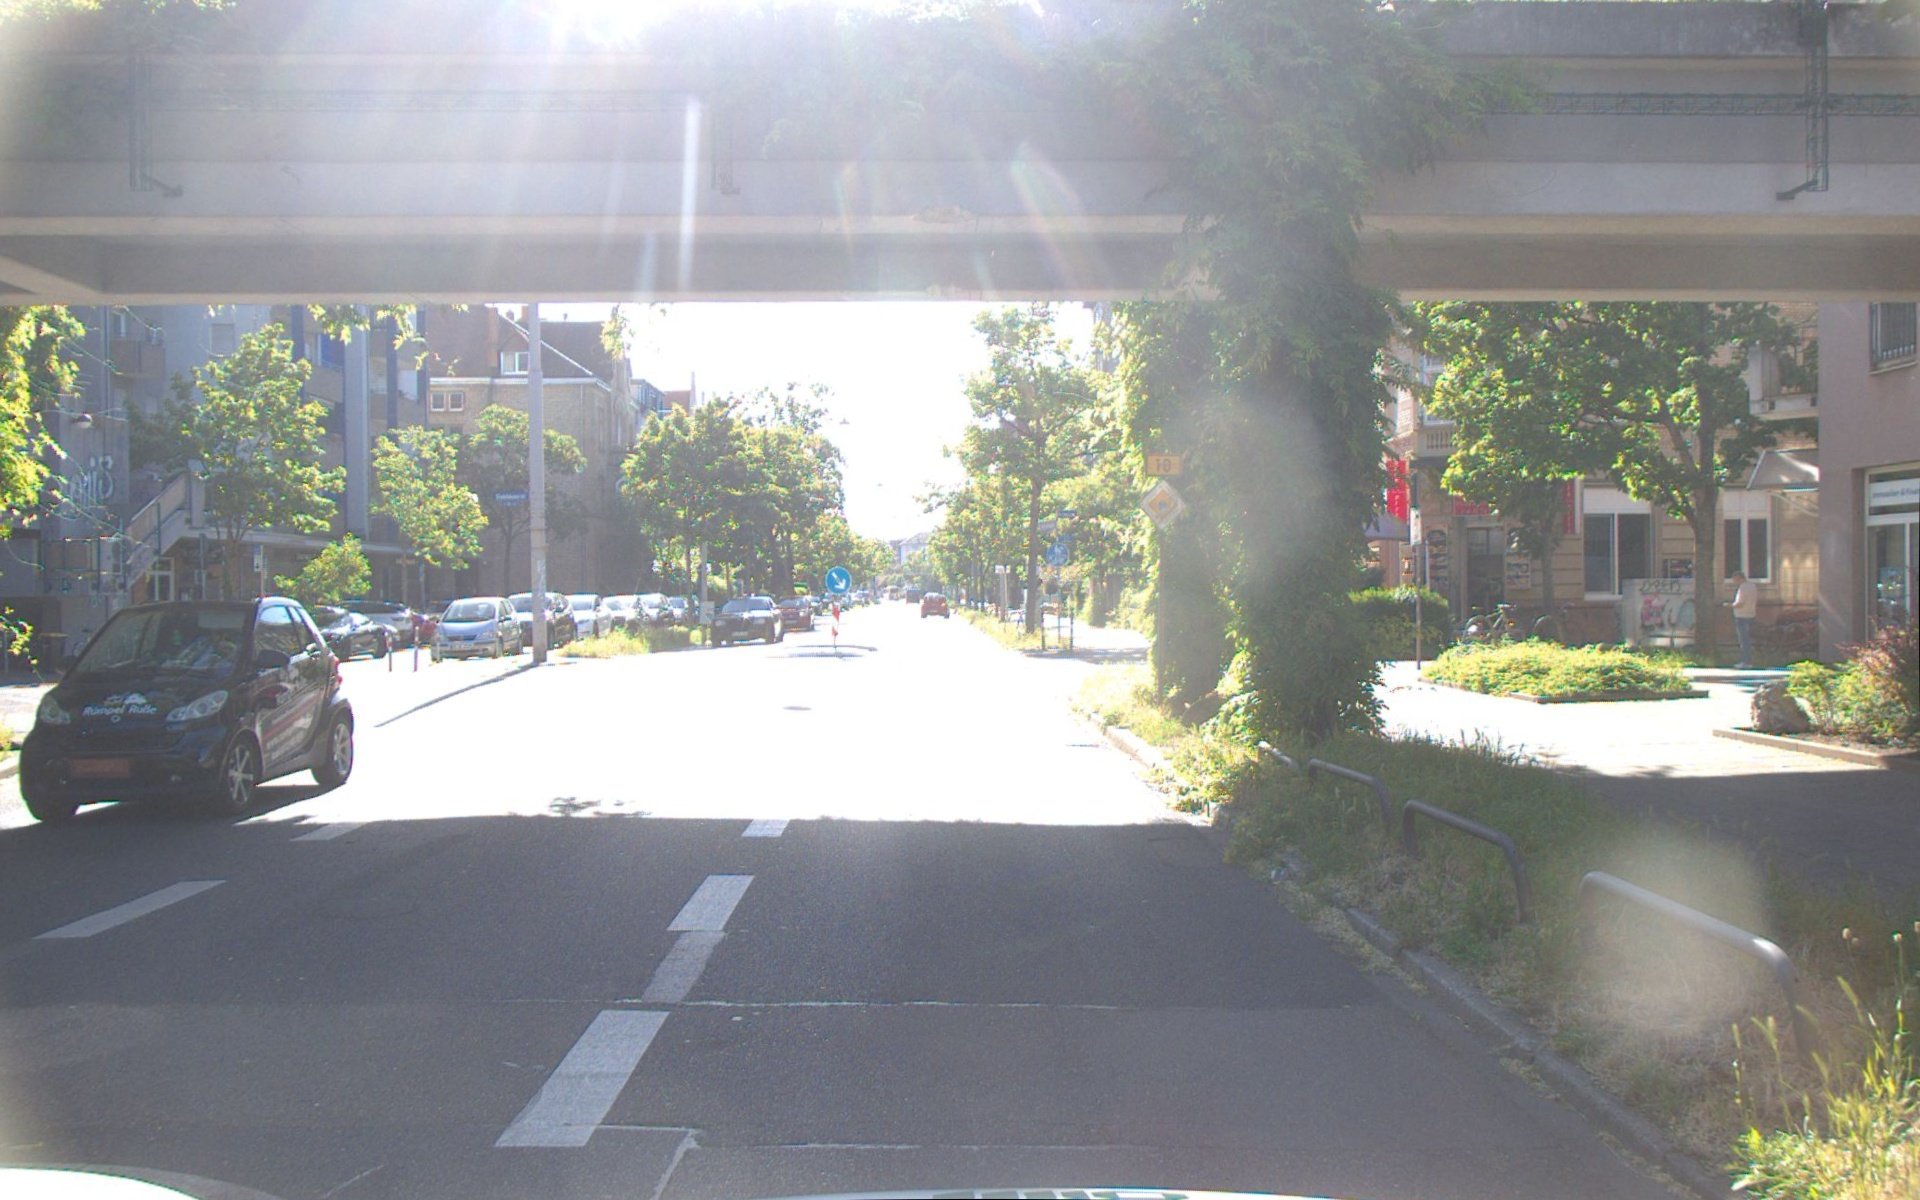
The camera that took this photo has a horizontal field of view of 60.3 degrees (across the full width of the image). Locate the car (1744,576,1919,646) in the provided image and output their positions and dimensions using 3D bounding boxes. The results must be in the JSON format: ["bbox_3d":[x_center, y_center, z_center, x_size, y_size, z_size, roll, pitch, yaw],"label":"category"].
[{"bbox_3d":[20.346,0.254,38.027,3.917,1.466,1.774,1,3,-12],"label":"car"}]

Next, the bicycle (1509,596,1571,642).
[{"bbox_3d":[12.901,0.414,36.773,1.286,0.991,0.392,-1,0,-12],"label":"bicycle"}]

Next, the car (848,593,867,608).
[{"bbox_3d":[-12.234,0.091,197.405,1.952,1.725,4.001,-1,0,1],"label":"car"}]

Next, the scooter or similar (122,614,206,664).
[{"bbox_3d":[-21.648,1.059,44.986,1.929,1.299,0.630,-1,1,-6],"label":"scooter or similar"}]

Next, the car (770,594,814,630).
[{"bbox_3d":[-7.189,0.507,71.091,1.618,1.453,3.506,-1,0,-2],"label":"car"}]

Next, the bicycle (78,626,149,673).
[{"bbox_3d":[-20.553,1.187,40.188,0.405,1.049,1.803,2,1,15],"label":"bicycle"}]

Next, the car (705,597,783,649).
[{"bbox_3d":[-6.623,0.668,51.206,1.828,1.484,4.592,-1,0,-1],"label":"car"}]

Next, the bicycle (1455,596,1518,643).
[{"bbox_3d":[11.428,0.414,35.908,1.286,0.991,0.392,-1,0,-12],"label":"bicycle"}]

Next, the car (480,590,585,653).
[{"bbox_3d":[-12.084,0.562,47.038,1.830,1.656,4.504,-2,0,-1],"label":"car"}]

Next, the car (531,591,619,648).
[{"bbox_3d":[-12.430,0.600,53.681,1.850,1.691,4.529,-3,0,-2],"label":"car"}]

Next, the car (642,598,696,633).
[{"bbox_3d":[-12.585,0.645,71.724,1.719,1.422,3.999,-1,0,-2],"label":"car"}]

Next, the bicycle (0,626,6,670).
[{"bbox_3d":[-23.260,1.130,38.482,1.763,1.018,0.483,-1,1,-10],"label":"bicycle"}]

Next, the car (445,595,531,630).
[{"bbox_3d":[-23.842,0.629,83.664,3.909,1.658,1.686,-1,0,-5],"label":"car"}]

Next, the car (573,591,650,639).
[{"bbox_3d":[-12.623,0.507,60.061,1.824,1.615,4.001,-2,0,1],"label":"car"}]

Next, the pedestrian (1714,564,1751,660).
[{"bbox_3d":[13.029,0.199,27.898,0.519,1.604,0.634,-1,0,23],"label":"pedestrian"}]

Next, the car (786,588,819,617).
[{"bbox_3d":[-11.576,0.198,121.766,1.952,2.049,4.206,-1,0,1],"label":"car"}]

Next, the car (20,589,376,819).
[{"bbox_3d":[-5.754,0.710,12.819,1.437,1.554,2.816,-1,0,-1],"label":"car"}]

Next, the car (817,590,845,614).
[{"bbox_3d":[-11.585,0.182,148.647,2.018,2.049,4.629,-1,0,1],"label":"car"}]

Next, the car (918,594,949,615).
[{"bbox_3d":[-1.662,0.280,104.463,1.760,1.244,4.001,-1,0,2],"label":"car"}]

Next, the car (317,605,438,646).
[{"bbox_3d":[-21.639,0.941,61.584,3.909,1.449,1.686,-1,0,-5],"label":"car"}]

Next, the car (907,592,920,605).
[{"bbox_3d":[-6.693,-0.192,236.277,1.722,1.815,4.000,-1,0,0],"label":"car"}]

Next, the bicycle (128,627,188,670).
[{"bbox_3d":[-20.464,1.221,42.223,0.405,1.018,1.804,2,1,8],"label":"bicycle"}]

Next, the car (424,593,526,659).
[{"bbox_3d":[-12.211,0.629,41.836,1.685,1.545,3.529,-2,0,-4],"label":"car"}]

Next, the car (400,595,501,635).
[{"bbox_3d":[-22.132,0.627,71.963,3.909,1.658,1.686,-1,0,-5],"label":"car"}]

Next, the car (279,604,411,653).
[{"bbox_3d":[-21.154,0.968,57.010,3.909,1.578,1.768,-1,0,-5],"label":"car"}]

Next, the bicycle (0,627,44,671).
[{"bbox_3d":[-22.706,1.165,39.319,1.591,1.018,0.412,1,1,-25],"label":"bicycle"}]

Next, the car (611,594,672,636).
[{"bbox_3d":[-12.690,0.575,66.098,1.716,1.580,3.999,-1,0,-2],"label":"car"}]

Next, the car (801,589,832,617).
[{"bbox_3d":[-11.057,0.201,127.666,1.952,2.049,4.206,-1,0,1],"label":"car"}]

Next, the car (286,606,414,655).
[{"bbox_3d":[-21.728,1.065,59.004,3.909,1.635,1.840,-1,0,-5],"label":"car"}]

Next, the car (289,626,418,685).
[{"bbox_3d":[-16.878,1.509,46.250,1.852,1.422,4.530,-2,0,1],"label":"car"}]
